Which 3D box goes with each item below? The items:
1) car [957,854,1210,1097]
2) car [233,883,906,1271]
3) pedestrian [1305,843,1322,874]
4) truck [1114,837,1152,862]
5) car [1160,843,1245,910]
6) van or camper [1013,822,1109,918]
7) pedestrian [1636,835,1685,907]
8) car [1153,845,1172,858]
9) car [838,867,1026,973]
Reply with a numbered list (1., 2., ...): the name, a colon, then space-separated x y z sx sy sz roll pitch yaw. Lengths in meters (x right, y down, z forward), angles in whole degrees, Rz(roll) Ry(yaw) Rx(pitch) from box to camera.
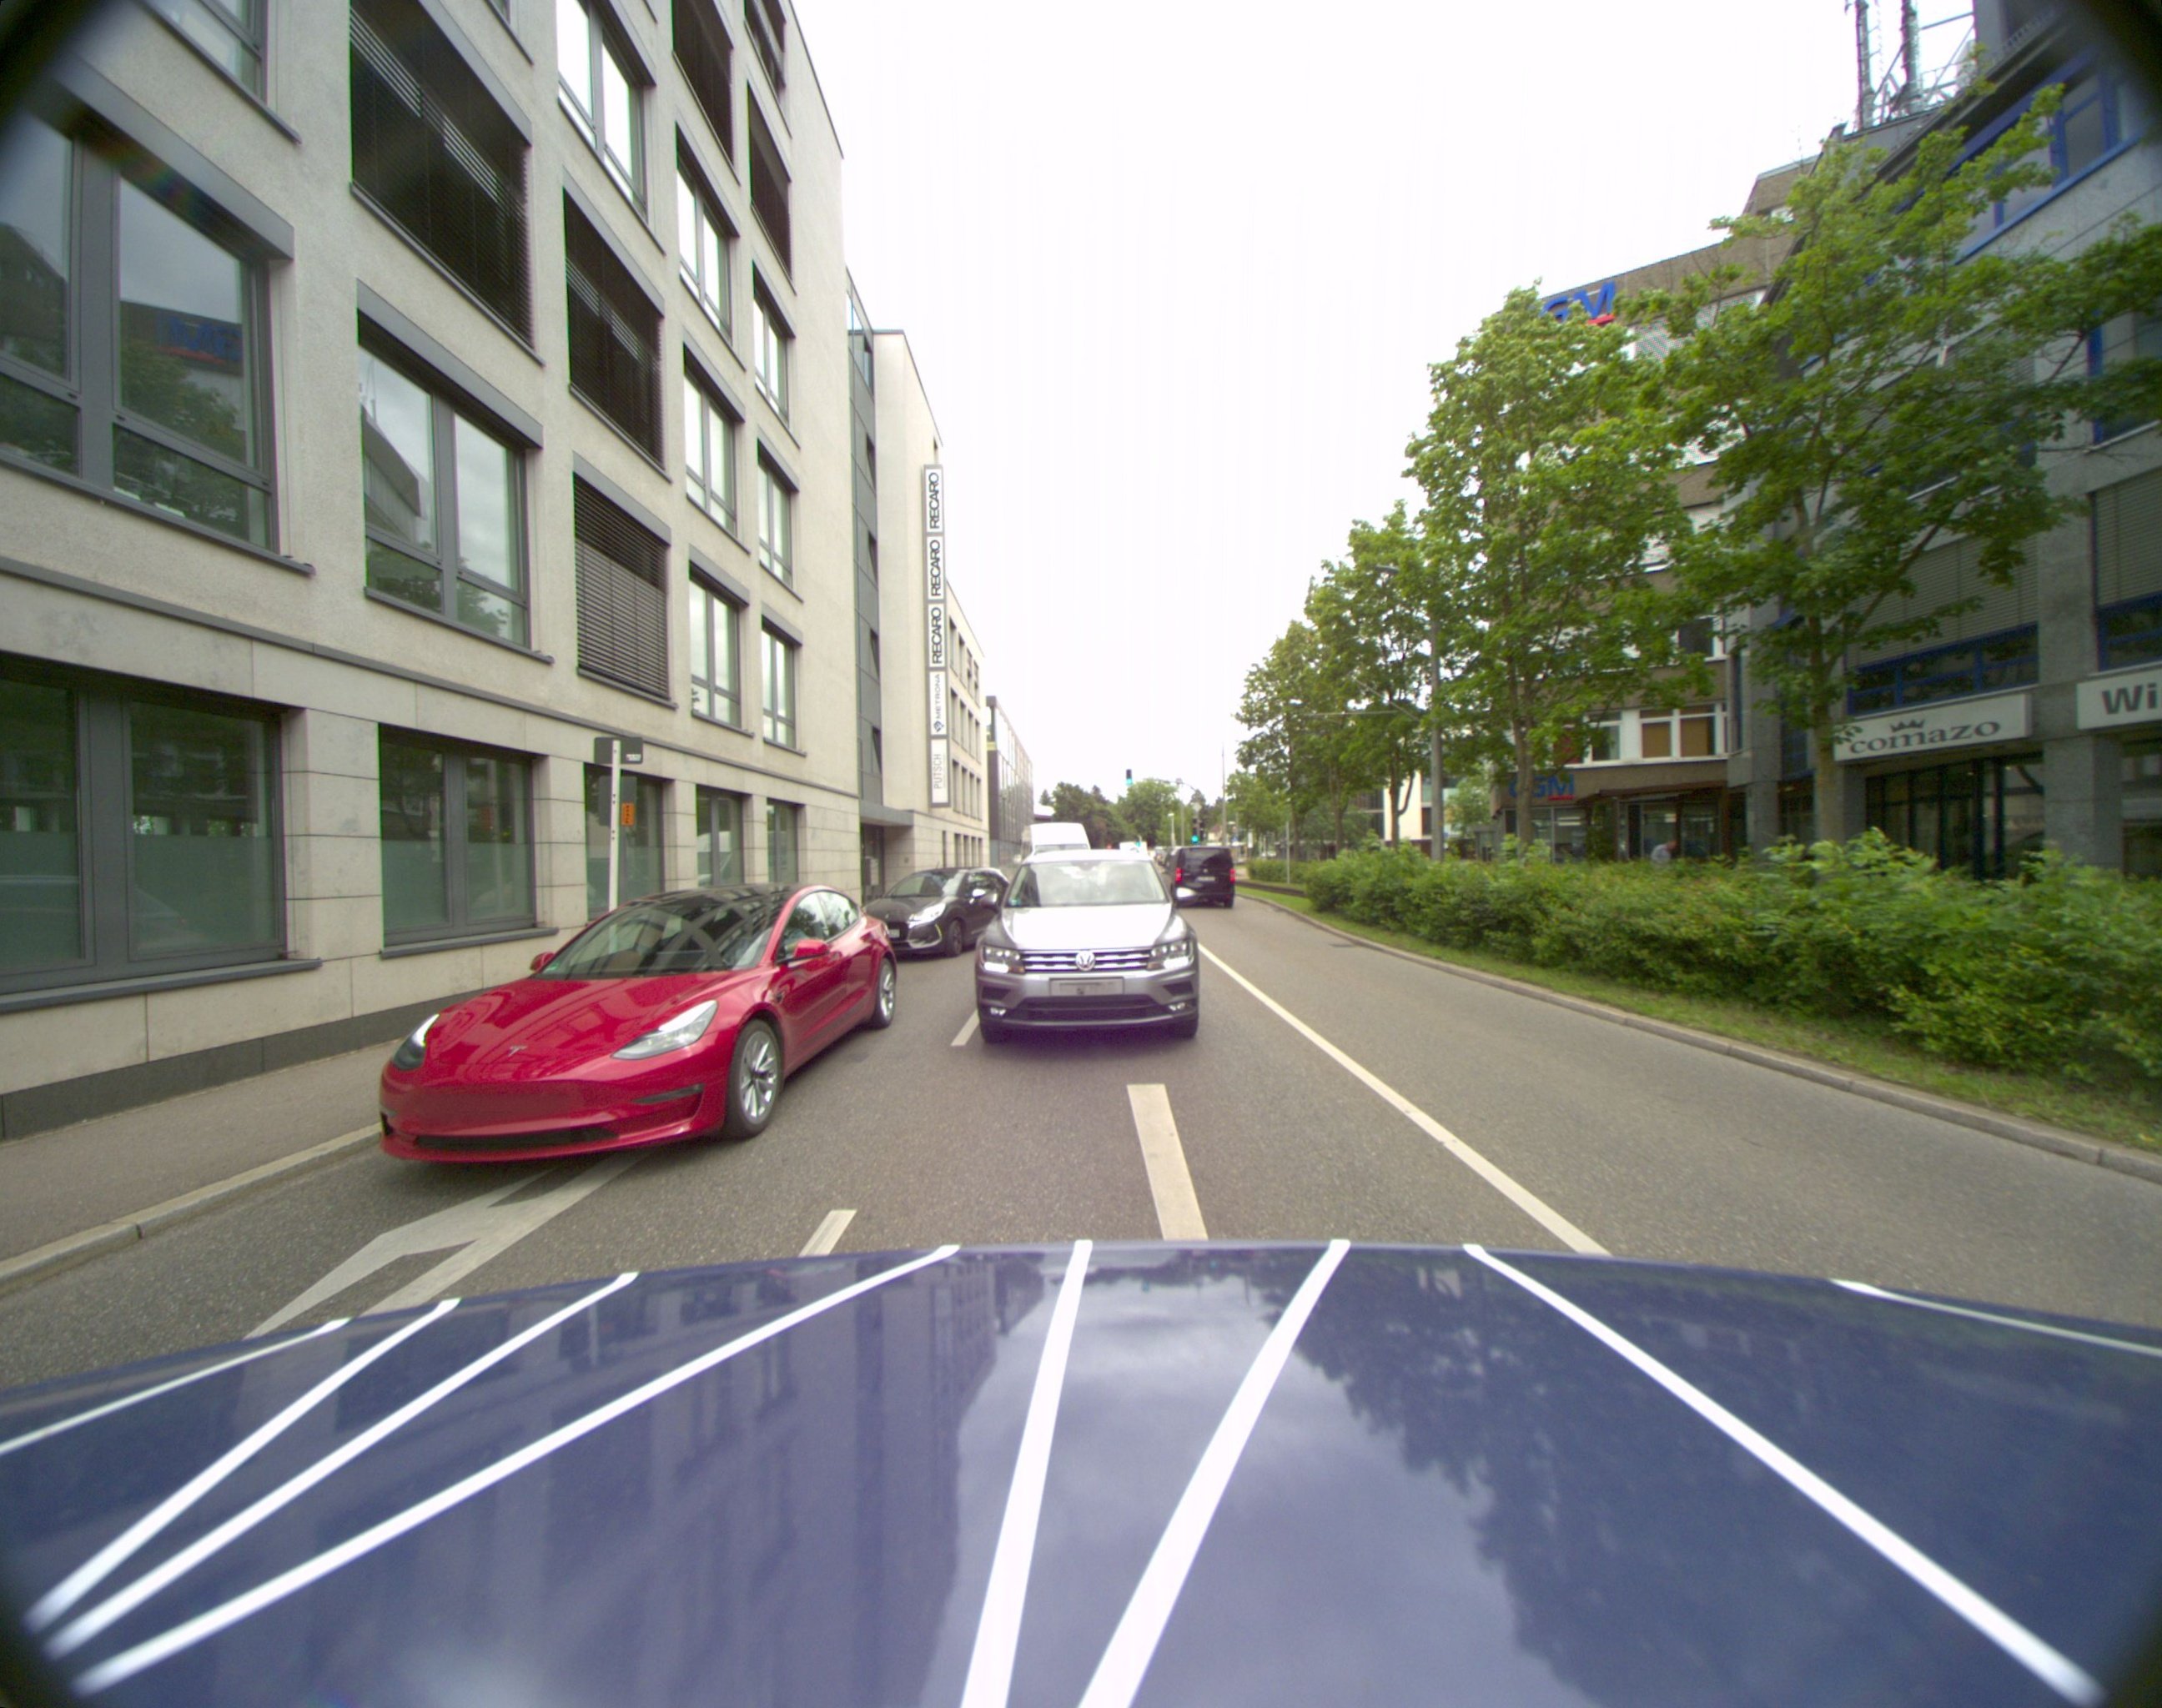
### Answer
1. car: 0.052 0.883 7.739 1.798 1.716 4.458 -1 0 1
2. car: -2.761 1.073 5.552 1.825 1.449 4.408 -3 0 1
3. pedestrian: 14.750 0.298 48.186 0.816 1.912 0.731 -2 1 0
4. truck: 8.097 -0.702 117.491 2.317 3.626 8.024 -1 1 31
5. car: 3.753 0.621 24.262 1.998 1.936 4.736 0 1 1
6. van or camper: -0.847 0.429 25.216 2.115 2.718 6.145 -2 1 -11
7. pedestrian: 14.884 0.421 19.529 0.680 1.795 0.731 -2 1 -4
8. car: 13.888 -0.462 128.584 1.995 2.002 4.006 -1 1 24
9. car: -2.431 1.059 13.435 1.743 1.449 3.737 -3 0 14
